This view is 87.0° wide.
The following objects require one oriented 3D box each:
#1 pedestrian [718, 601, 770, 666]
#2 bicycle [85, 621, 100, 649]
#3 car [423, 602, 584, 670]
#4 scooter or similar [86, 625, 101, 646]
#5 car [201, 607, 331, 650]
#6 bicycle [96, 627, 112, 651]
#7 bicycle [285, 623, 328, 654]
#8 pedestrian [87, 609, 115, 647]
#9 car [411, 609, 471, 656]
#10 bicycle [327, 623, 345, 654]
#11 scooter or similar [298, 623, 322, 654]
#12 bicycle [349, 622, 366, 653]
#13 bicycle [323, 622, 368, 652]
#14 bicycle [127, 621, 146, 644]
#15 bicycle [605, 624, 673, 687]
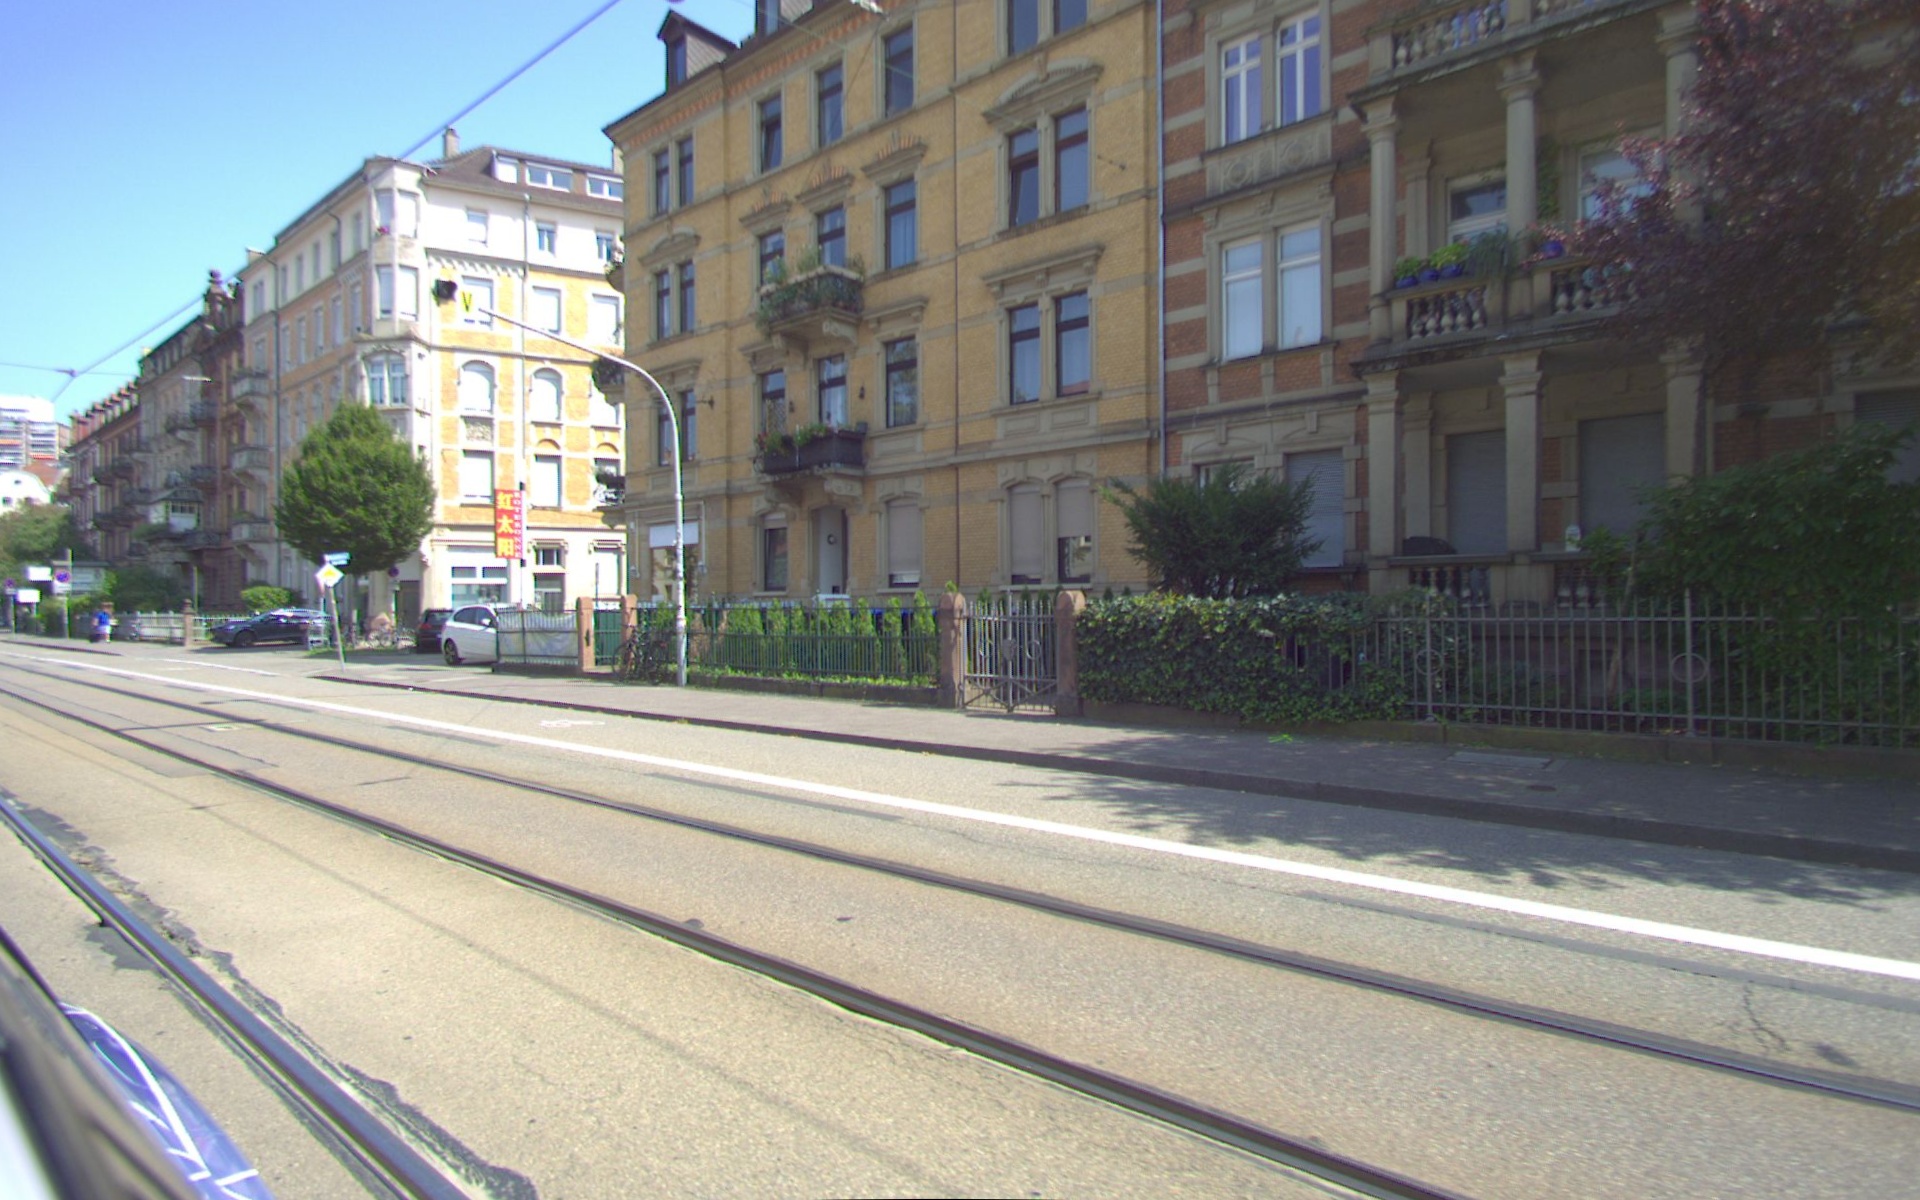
[{"bbox_3d":[-5.187,0.798,24.315,0.883,1.522,0.860,-1,-1,32],"label":"pedestrian"},{"bbox_3d":[-45.034,1.825,52.553,1.581,1.416,0.386,-2,-2,42],"label":"bicycle"},{"bbox_3d":[-11.829,0.897,26.154,4.352,1.606,1.975,-1,-2,37],"label":"car"},{"bbox_3d":[-40.520,1.664,47.323,0.583,0.990,0.397,-1,0,33],"label":"scooter or similar"},{"bbox_3d":[-28.097,1.112,41.051,1.878,1.606,4.058,-1,0,42],"label":"car"},{"bbox_3d":[-42.299,1.944,50.005,1.581,1.156,0.386,-2,-2,42],"label":"bicycle"},{"bbox_3d":[-24.581,1.432,38.067,0.387,1.107,1.443,-2,-1,18],"label":"bicycle"},{"bbox_3d":[-40.105,1.300,47.266,0.869,1.769,0.874,-2,-2,40],"label":"pedestrian"},{"bbox_3d":[-19.998,1.221,38.916,1.965,1.701,4.373,0,-1,-29],"label":"car"},{"bbox_3d":[-23.170,1.427,37.590,0.384,1.107,1.456,-1,-1,-24],"label":"bicycle"},{"bbox_3d":[-23.750,1.390,36.978,0.588,1.107,1.392,-1,-1,-39],"label":"scooter or similar"},{"bbox_3d":[-22.498,1.400,37.805,0.384,1.107,1.456,-1,-1,-24],"label":"bicycle"},{"bbox_3d":[-23.944,1.447,39.439,1.428,1.107,0.391,-1,-1,-39],"label":"bicycle"},{"bbox_3d":[-37.646,1.488,46.245,1.832,1.046,0.386,-2,-1,42],"label":"bicycle"},{"bbox_3d":[-5.901,1.011,18.559,1.566,1.107,0.386,-2,-1,39],"label":"bicycle"}]
